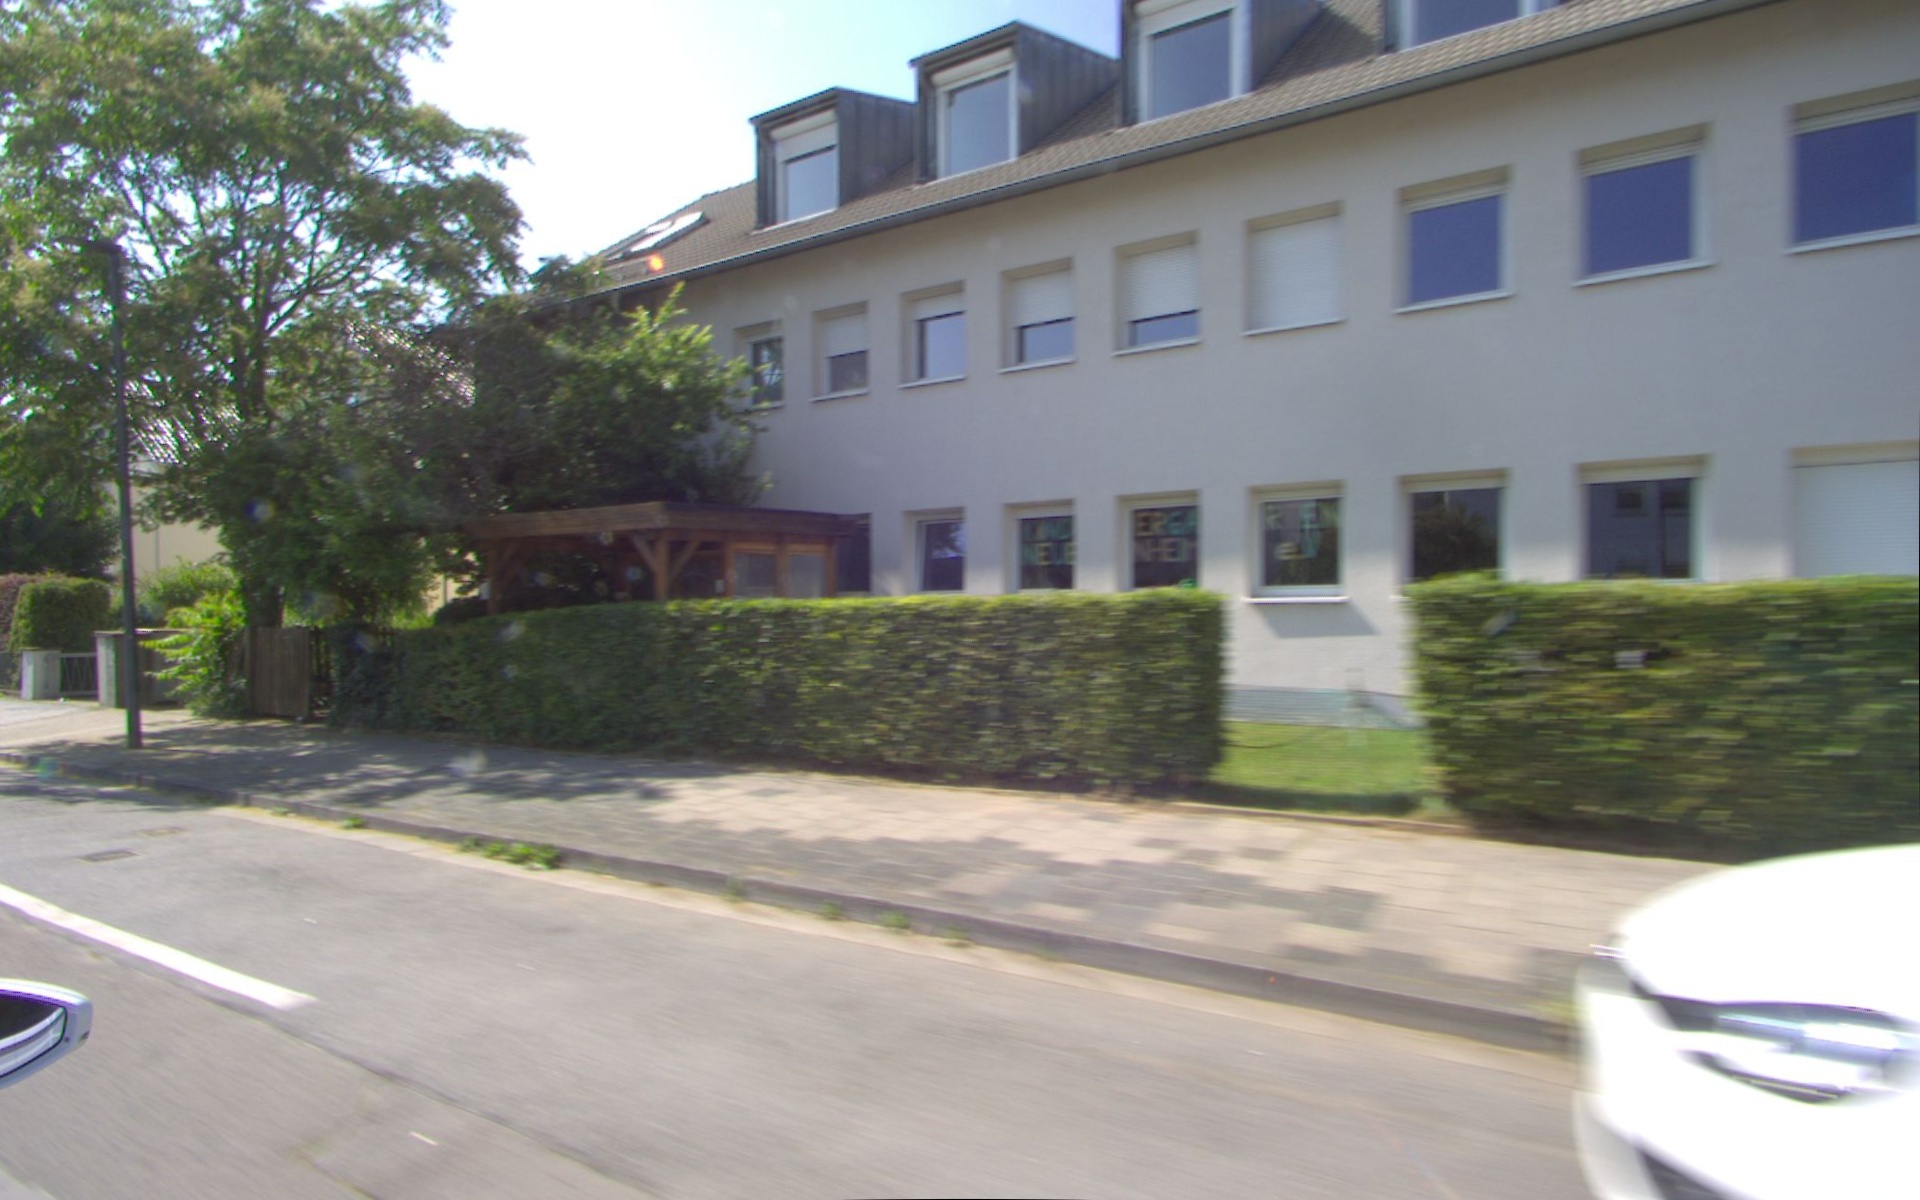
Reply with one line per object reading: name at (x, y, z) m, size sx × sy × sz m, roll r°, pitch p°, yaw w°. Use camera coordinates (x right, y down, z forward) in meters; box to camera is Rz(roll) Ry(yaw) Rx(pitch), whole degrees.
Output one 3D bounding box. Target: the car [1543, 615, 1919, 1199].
car at (3.188, 0.766, 1.474) m, size 4.014 × 1.420 × 1.738 m, roll 0°, pitch -3°, yaw 31°
